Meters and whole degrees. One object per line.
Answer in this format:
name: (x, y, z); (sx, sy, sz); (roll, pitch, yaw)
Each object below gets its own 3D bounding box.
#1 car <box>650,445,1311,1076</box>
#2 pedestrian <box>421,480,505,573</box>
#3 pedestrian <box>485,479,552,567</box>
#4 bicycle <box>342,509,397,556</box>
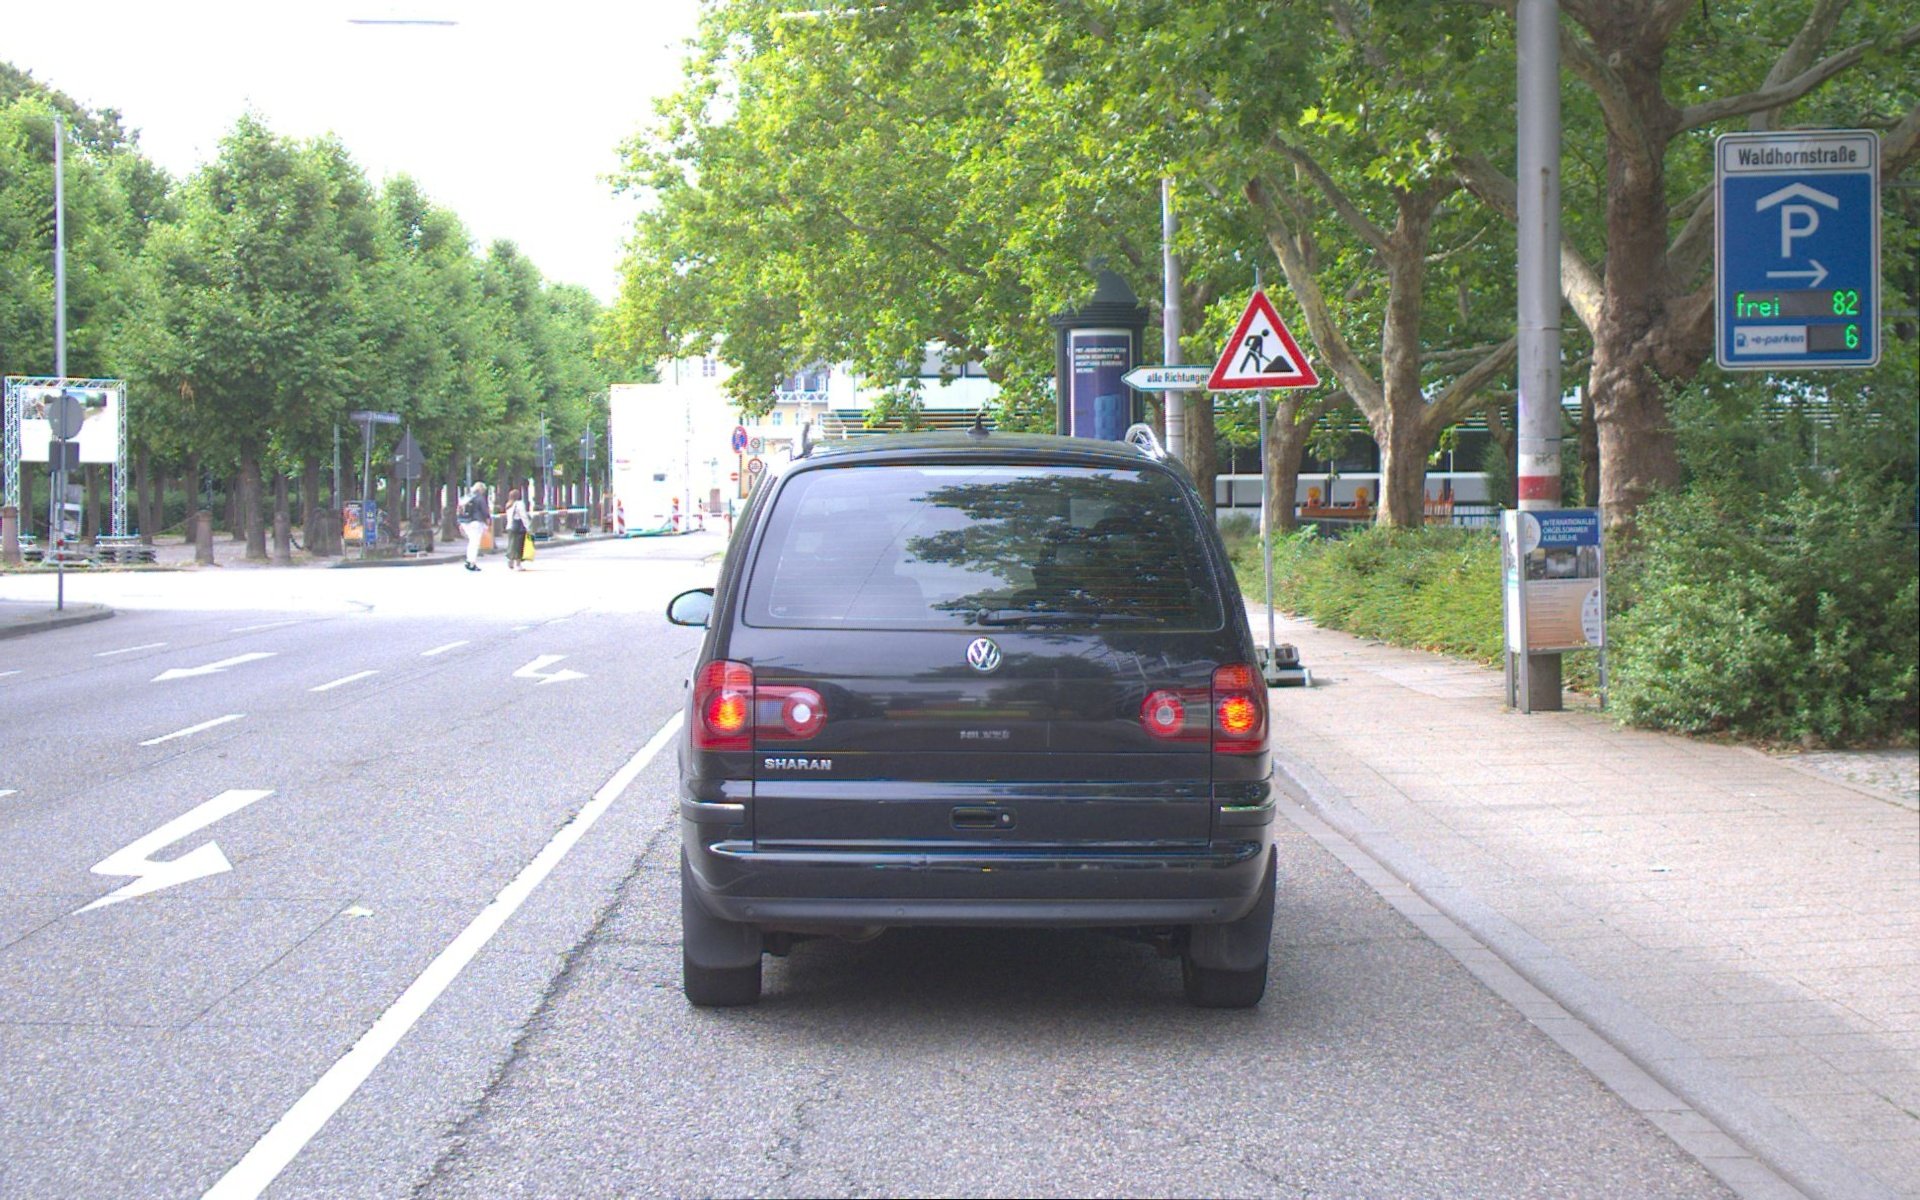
car: (-0.038, 0.365, 11.470); (1.793, 1.702, 4.132); (-1, 2, -3)
pedestrian: (-9.482, -1.401, 65.633); (0.962, 1.735, 1.253); (3, 2, 38)
pedestrian: (-8.406, -1.469, 65.405); (0.898, 1.635, 0.851); (2, 2, 35)
bicycle: (-14.670, -1.689, 85.360); (0.952, 1.106, 2.580); (1, 2, -18)
